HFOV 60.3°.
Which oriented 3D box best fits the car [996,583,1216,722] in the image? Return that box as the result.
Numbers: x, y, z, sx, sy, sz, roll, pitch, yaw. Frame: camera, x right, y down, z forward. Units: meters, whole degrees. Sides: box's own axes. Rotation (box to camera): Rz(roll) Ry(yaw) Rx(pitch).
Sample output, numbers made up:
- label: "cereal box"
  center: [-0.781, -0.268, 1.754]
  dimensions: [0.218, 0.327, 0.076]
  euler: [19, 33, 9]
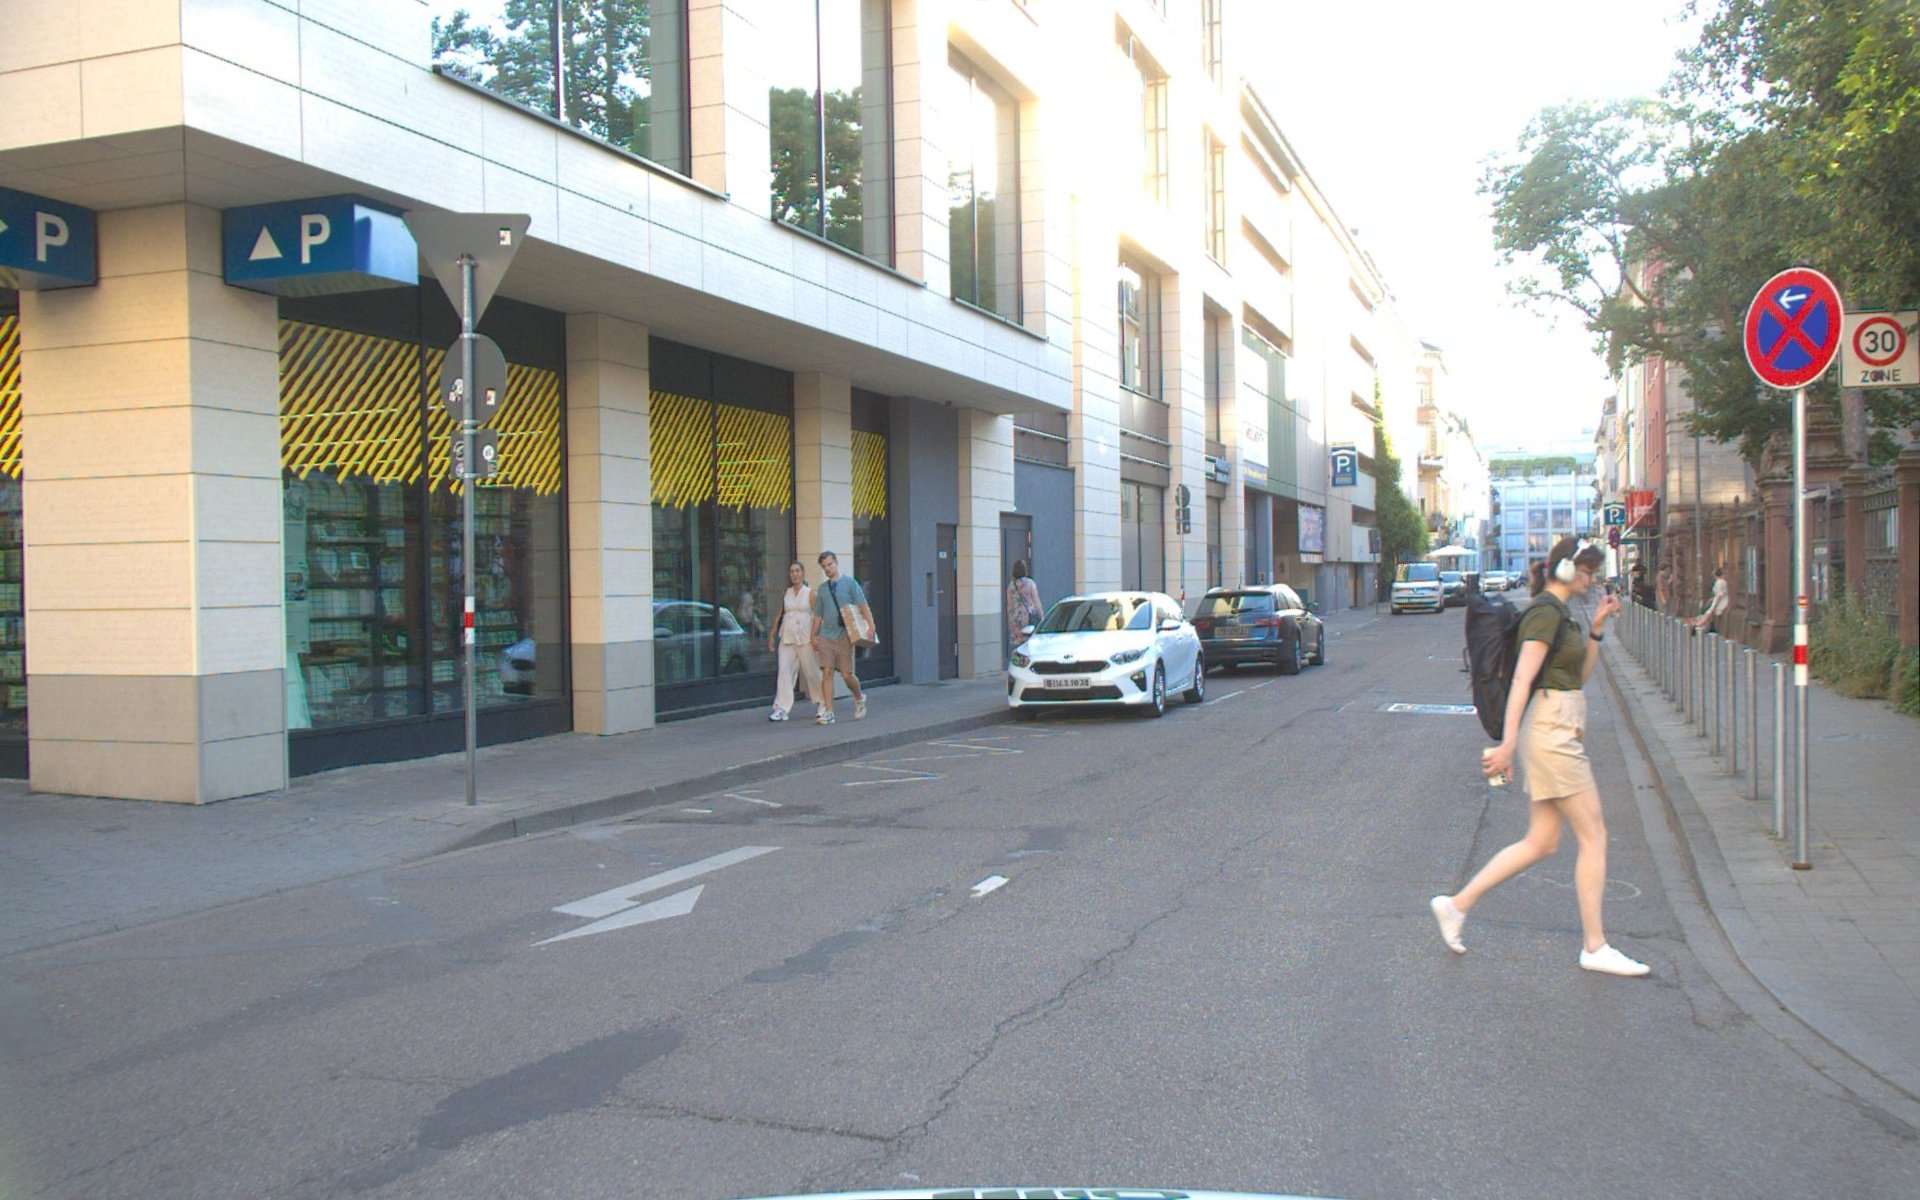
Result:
- label: "car"
  center: [1.909, 0.556, 20.313]
  dimensions: [1.740, 1.478, 4.233]
  euler: [0, 1, 19]

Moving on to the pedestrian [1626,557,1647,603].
- label: "pedestrian"
  center: [25.403, -0.746, 62.107]
  dimensions: [0.648, 1.695, 0.624]
  euler: [-2, 0, 20]

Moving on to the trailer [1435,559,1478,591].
- label: "trailer"
  center: [25.199, -1.249, 83.894]
  dimensions: [1.952, 1.584, 4.002]
  euler: [0, 0, 19]

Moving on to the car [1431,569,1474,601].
- label: "car"
  center: [23.778, -0.739, 79.781]
  dimensions: [1.844, 1.478, 4.002]
  euler: [0, 1, 19]

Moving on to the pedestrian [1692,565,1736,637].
- label: "pedestrian"
  center: [16.410, 0.013, 36.003]
  dimensions: [0.733, 1.526, 0.619]
  euler: [-2, 0, 15]

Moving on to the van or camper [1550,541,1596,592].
- label: "van or camper"
  center: [34.861, -1.873, 94.064]
  dimensions: [2.211, 2.652, 5.113]
  euler: [-5, -1, 20]

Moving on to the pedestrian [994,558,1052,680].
- label: "pedestrian"
  center: [0.931, 0.273, 24.344]
  dimensions: [0.658, 1.775, 0.647]
  euler: [0, 0, 20]

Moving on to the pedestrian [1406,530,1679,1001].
- label: "pedestrian"
  center: [2.340, 0.608, 6.681]
  dimensions: [0.630, 1.753, 0.835]
  euler: [-1, 1, -35]

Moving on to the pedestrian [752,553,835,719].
- label: "pedestrian"
  center: [-1.748, 0.368, 17.383]
  dimensions: [0.658, 1.704, 0.648]
  euler: [0, 1, 18]

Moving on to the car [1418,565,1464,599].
- label: "car"
  center: [21.972, -0.831, 75.455]
  dimensions: [1.844, 1.478, 4.002]
  euler: [0, 1, 19]

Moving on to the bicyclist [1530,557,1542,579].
- label: "bicyclist"
  center: [49.513, -2.743, 142.159]
  dimensions: [0.969, 1.901, 0.708]
  euler: [0, 0, 21]

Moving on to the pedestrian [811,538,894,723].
- label: "pedestrian"
  center: [-1.114, 0.305, 17.164]
  dimensions: [0.658, 1.868, 0.648]
  euler: [0, 1, 18]

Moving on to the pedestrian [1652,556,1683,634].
- label: "pedestrian"
  center: [15.657, -0.113, 36.619]
  dimensions: [0.474, 1.687, 0.619]
  euler: [-2, 0, 13]

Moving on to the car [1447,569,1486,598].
- label: "car"
  center: [27.032, -0.883, 88.217]
  dimensions: [1.844, 1.478, 4.002]
  euler: [0, 1, 19]

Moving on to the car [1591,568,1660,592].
- label: "car"
  center: [41.423, -1.230, 103.043]
  dimensions: [3.905, 1.445, 1.657]
  euler: [0, 0, 21]

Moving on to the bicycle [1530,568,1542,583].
- label: "bicycle"
  center: [49.508, -2.110, 142.121]
  dimensions: [0.955, 1.302, 2.755]
  euler: [0, 0, 20]

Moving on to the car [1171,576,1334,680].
- label: "car"
  center: [5.165, 0.410, 28.662]
  dimensions: [1.845, 1.626, 4.689]
  euler: [0, 1, 22]

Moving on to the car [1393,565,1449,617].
- label: "car"
  center: [18.026, -0.390, 64.538]
  dimensions: [1.844, 1.945, 4.750]
  euler: [0, 1, 18]

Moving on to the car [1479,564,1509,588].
- label: "car"
  center: [38.965, -1.737, 120.596]
  dimensions: [1.952, 1.713, 4.001]
  euler: [0, 0, 20]
